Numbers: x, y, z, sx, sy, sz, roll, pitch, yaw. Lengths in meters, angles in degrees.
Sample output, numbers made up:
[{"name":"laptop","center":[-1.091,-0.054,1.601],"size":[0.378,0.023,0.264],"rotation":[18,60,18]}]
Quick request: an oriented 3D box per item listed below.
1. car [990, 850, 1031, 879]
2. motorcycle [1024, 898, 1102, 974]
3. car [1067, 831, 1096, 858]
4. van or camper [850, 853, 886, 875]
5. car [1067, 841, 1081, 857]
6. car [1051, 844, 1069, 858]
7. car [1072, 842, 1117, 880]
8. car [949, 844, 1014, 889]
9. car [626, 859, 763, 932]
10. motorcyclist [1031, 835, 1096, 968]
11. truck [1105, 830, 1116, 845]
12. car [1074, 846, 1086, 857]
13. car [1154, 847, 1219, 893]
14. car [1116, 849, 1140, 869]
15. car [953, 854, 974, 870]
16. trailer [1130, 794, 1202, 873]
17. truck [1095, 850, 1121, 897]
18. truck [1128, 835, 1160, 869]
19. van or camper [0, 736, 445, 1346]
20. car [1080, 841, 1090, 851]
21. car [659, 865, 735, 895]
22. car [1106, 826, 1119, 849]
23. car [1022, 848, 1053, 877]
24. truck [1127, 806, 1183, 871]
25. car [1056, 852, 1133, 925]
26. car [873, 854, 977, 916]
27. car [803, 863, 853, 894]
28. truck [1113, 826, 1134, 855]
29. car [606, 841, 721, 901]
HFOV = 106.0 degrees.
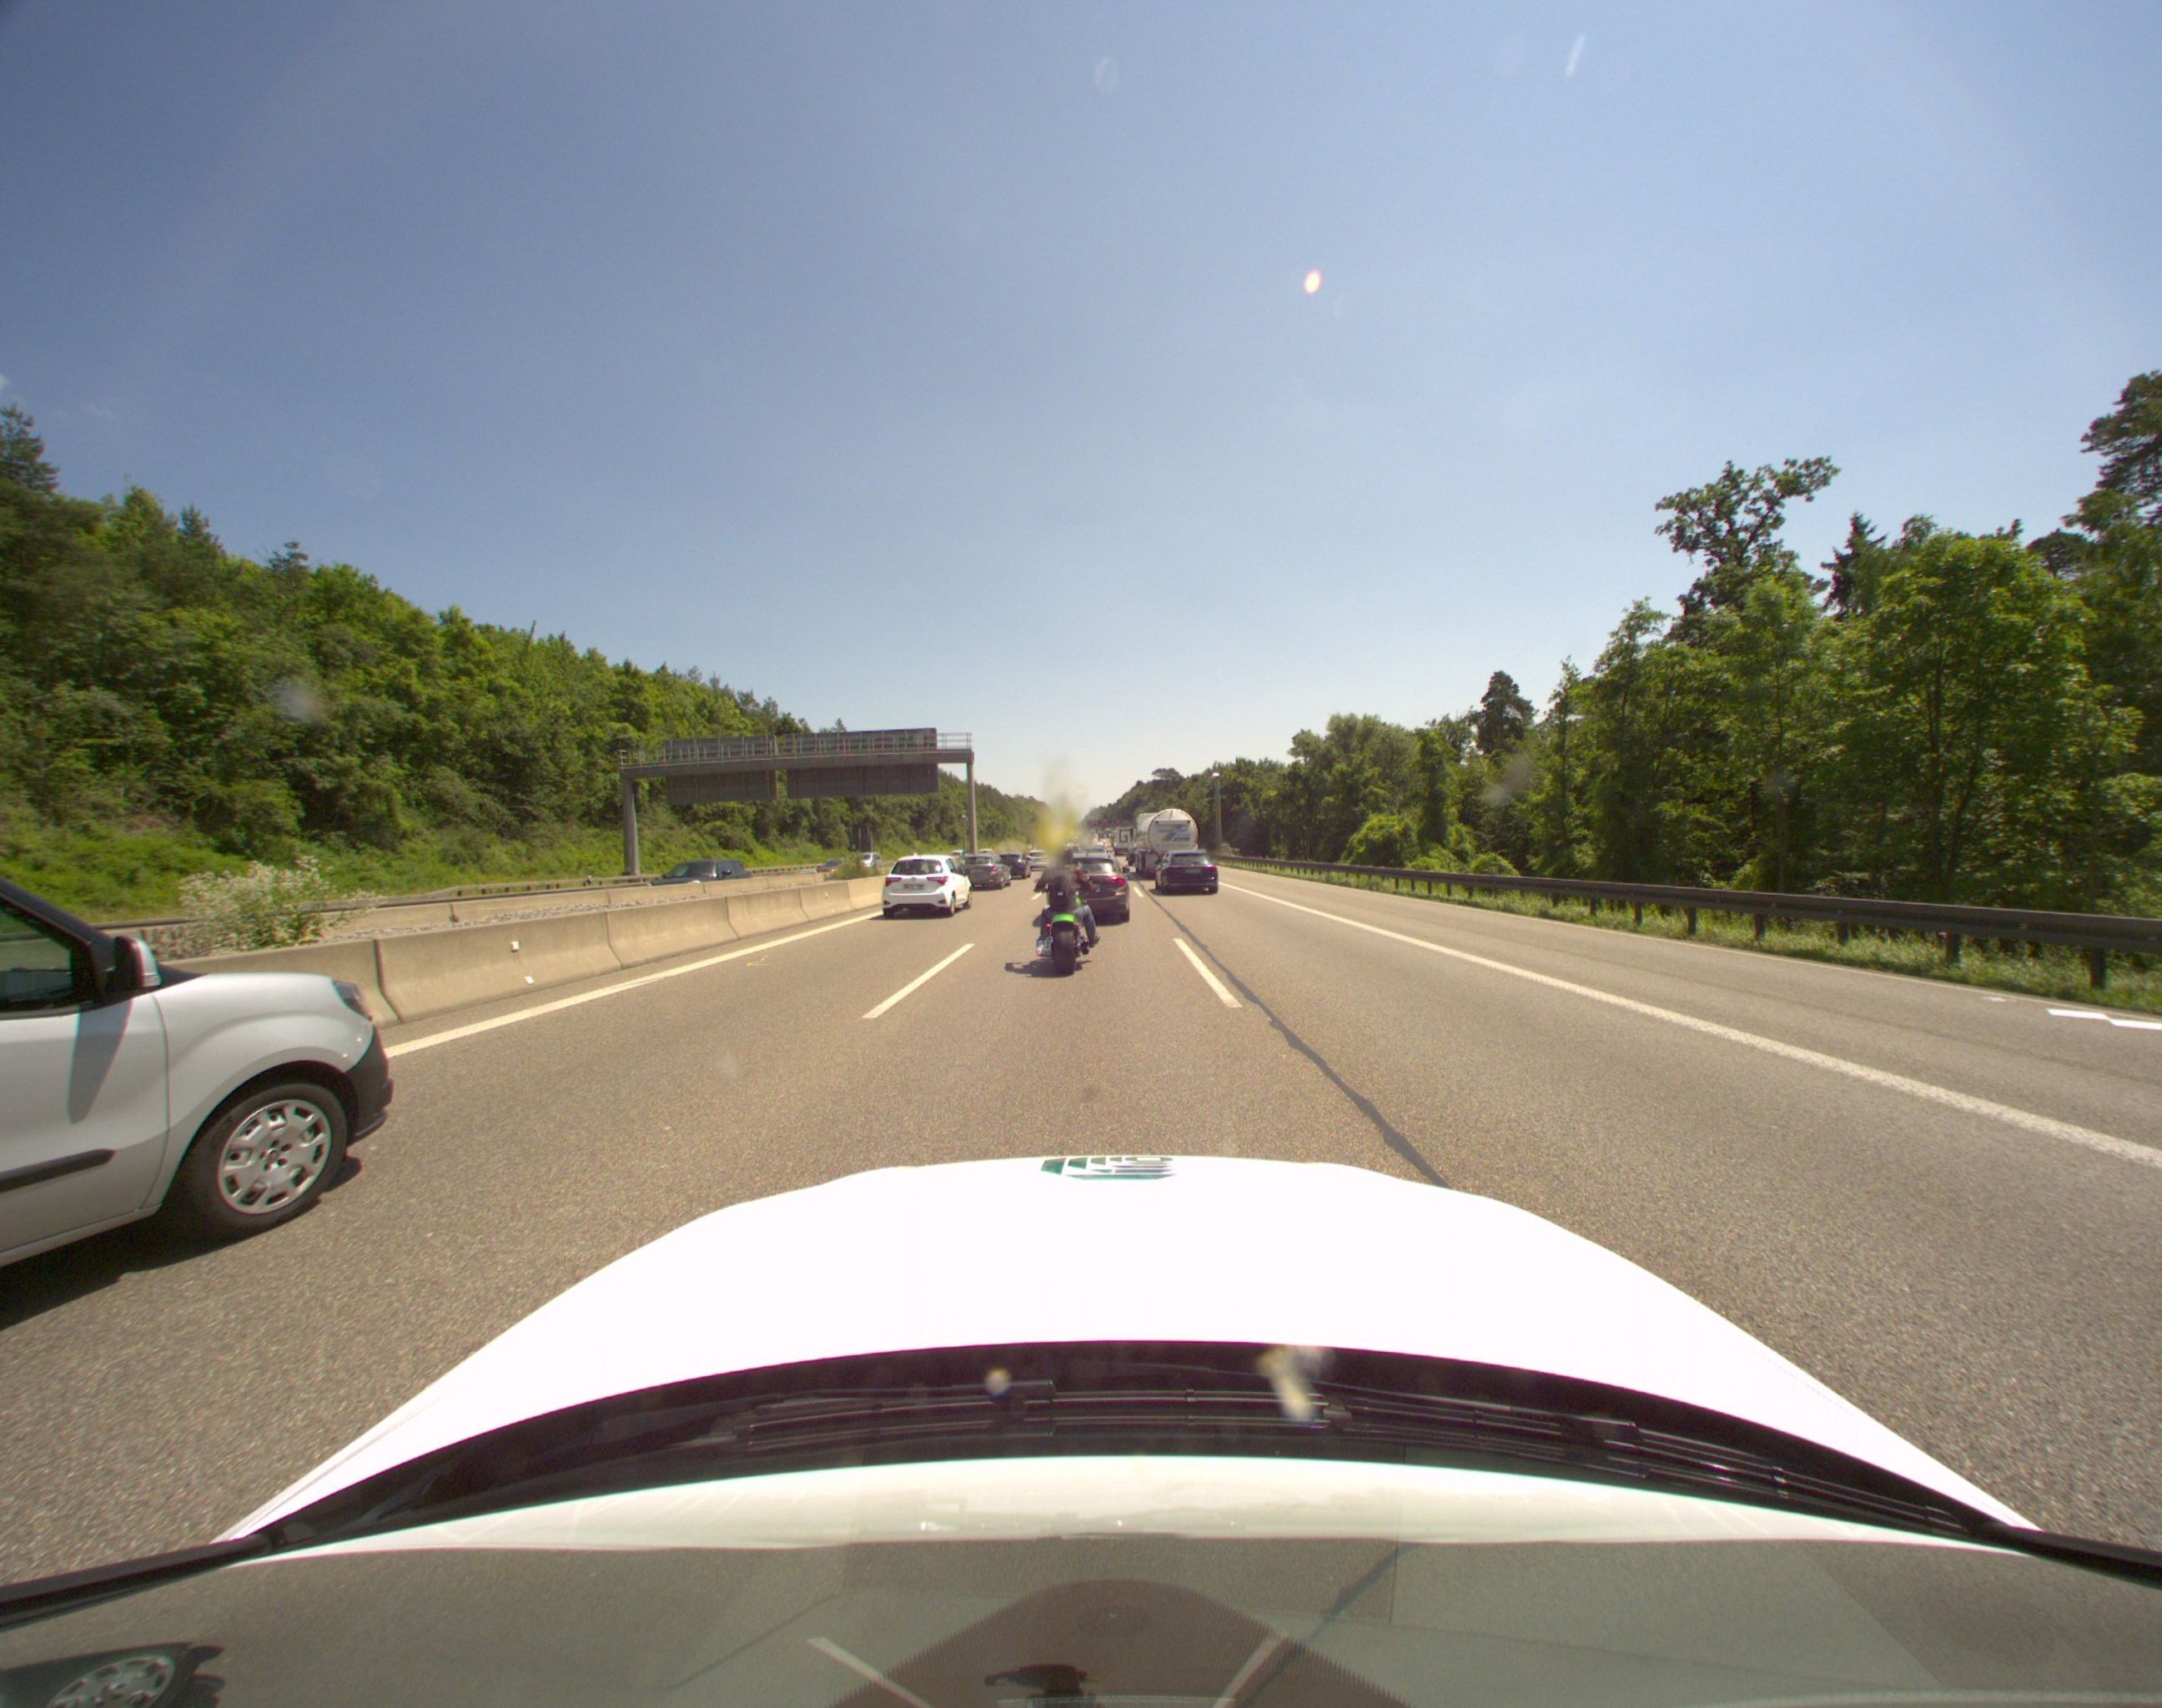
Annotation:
[{"name":"car","center":[-3.794,0.567,44.292],"size":[1.988,1.464,3.997],"rotation":[-1,-1,-2]},{"name":"motorcycle","center":[-0.196,1.062,11.070],"size":[0.932,0.793,2.299],"rotation":[-1,0,1]},{"name":"car","center":[0.081,-0.667,58.901],"size":[1.987,1.775,4.000],"rotation":[-1,-1,1]},{"name":"van or camper","center":[-20.341,0.971,77.971],"size":[1.986,2.014,4.683],"rotation":[-1,-1,2]},{"name":"car","center":[-0.922,-0.617,108.697],"size":[1.654,1.978,4.002],"rotation":[-1,-1,2]},{"name":"car","center":[-2.324,-0.278,91.131],"size":[1.757,1.442,4.002],"rotation":[-1,-1,2]},{"name":"car","center":[0.640,0.341,38.630],"size":[1.987,1.711,4.000],"rotation":[-1,-1,1]},{"name":"car","center":[-4.007,0.515,33.515],"size":[1.986,1.684,4.331],"rotation":[-1,-1,1]},{"name":"car","center":[-10.821,1.103,23.134],"size":[1.900,1.882,4.001],"rotation":[-1,-1,1]},{"name":"motorcyclist","center":[-0.214,0.613,10.868],"size":[0.796,1.688,1.017],"rotation":[-1,-1,1]},{"name":"truck","center":[7.719,-4.223,212.050],"size":[2.686,3.405,10.481],"rotation":[-2,0,2]},{"name":"car","center":[-0.149,-0.367,124.978],"size":[1.654,1.599,4.002],"rotation":[-1,0,2]},{"name":"car","center":[3.586,0.542,28.387],"size":[1.785,1.458,4.625],"rotation":[-1,-1,1]},{"name":"car","center":[3.837,0.429,66.753],"size":[1.769,1.527,4.001],"rotation":[-1,-1,1]},{"name":"car","center":[-15.857,1.064,109.767],"size":[1.986,2.014,4.475],"rotation":[-1,-1,2]},{"name":"trailer","center":[4.317,-0.901,43.683],"size":[2.818,3.671,10.731],"rotation":[-1,-1,1]},{"name":"truck","center":[2.693,1.915,84.930],"size":[2.380,4.464,10.869],"rotation":[-1,0,1]},{"name":"truck","center":[5.825,-0.190,76.092],"size":[2.380,2.979,8.252],"rotation":[-1,0,1]},{"name":"van or camper","center":[-4.290,0.594,1.917],"size":[1.846,1.880,4.564],"rotation":[-1,0,2]},{"name":"car","center":[0.778,-1.658,173.242],"size":[1.986,2.013,4.001],"rotation":[-2,0,1]},{"name":"car","center":[-20.211,1.340,43.031],"size":[1.986,1.447,4.002],"rotation":[-1,-1,2]},{"name":"car","center":[5.907,-3.094,153.756],"size":[2.159,3.893,9.332],"rotation":[-1,-1,2]},{"name":"car","center":[-3.130,0.641,59.477],"size":[1.986,2.014,4.000],"rotation":[-1,-1,1]},{"name":"truck","center":[4.380,-0.824,49.341],"size":[2.818,3.671,6.429],"rotation":[-1,-1,0]},{"name":"car","center":[0.323,0.692,18.388],"size":[1.535,1.450,4.001],"rotation":[-1,0,1]},{"name":"car","center":[-3.841,0.742,20.741],"size":[1.769,1.411,4.001],"rotation":[-1,-1,1]},{"name":"car","center":[-17.575,1.662,56.798],"size":[1.986,2.014,4.285],"rotation":[-1,-1,2]},{"name":"truck","center":[6.096,-1.883,116.244],"size":[2.841,3.821,7.195],"rotation":[-1,-1,4]},{"name":"car","center":[-15.011,0.569,29.531],"size":[1.986,2.013,4.001],"rotation":[-1,0,1]}]
